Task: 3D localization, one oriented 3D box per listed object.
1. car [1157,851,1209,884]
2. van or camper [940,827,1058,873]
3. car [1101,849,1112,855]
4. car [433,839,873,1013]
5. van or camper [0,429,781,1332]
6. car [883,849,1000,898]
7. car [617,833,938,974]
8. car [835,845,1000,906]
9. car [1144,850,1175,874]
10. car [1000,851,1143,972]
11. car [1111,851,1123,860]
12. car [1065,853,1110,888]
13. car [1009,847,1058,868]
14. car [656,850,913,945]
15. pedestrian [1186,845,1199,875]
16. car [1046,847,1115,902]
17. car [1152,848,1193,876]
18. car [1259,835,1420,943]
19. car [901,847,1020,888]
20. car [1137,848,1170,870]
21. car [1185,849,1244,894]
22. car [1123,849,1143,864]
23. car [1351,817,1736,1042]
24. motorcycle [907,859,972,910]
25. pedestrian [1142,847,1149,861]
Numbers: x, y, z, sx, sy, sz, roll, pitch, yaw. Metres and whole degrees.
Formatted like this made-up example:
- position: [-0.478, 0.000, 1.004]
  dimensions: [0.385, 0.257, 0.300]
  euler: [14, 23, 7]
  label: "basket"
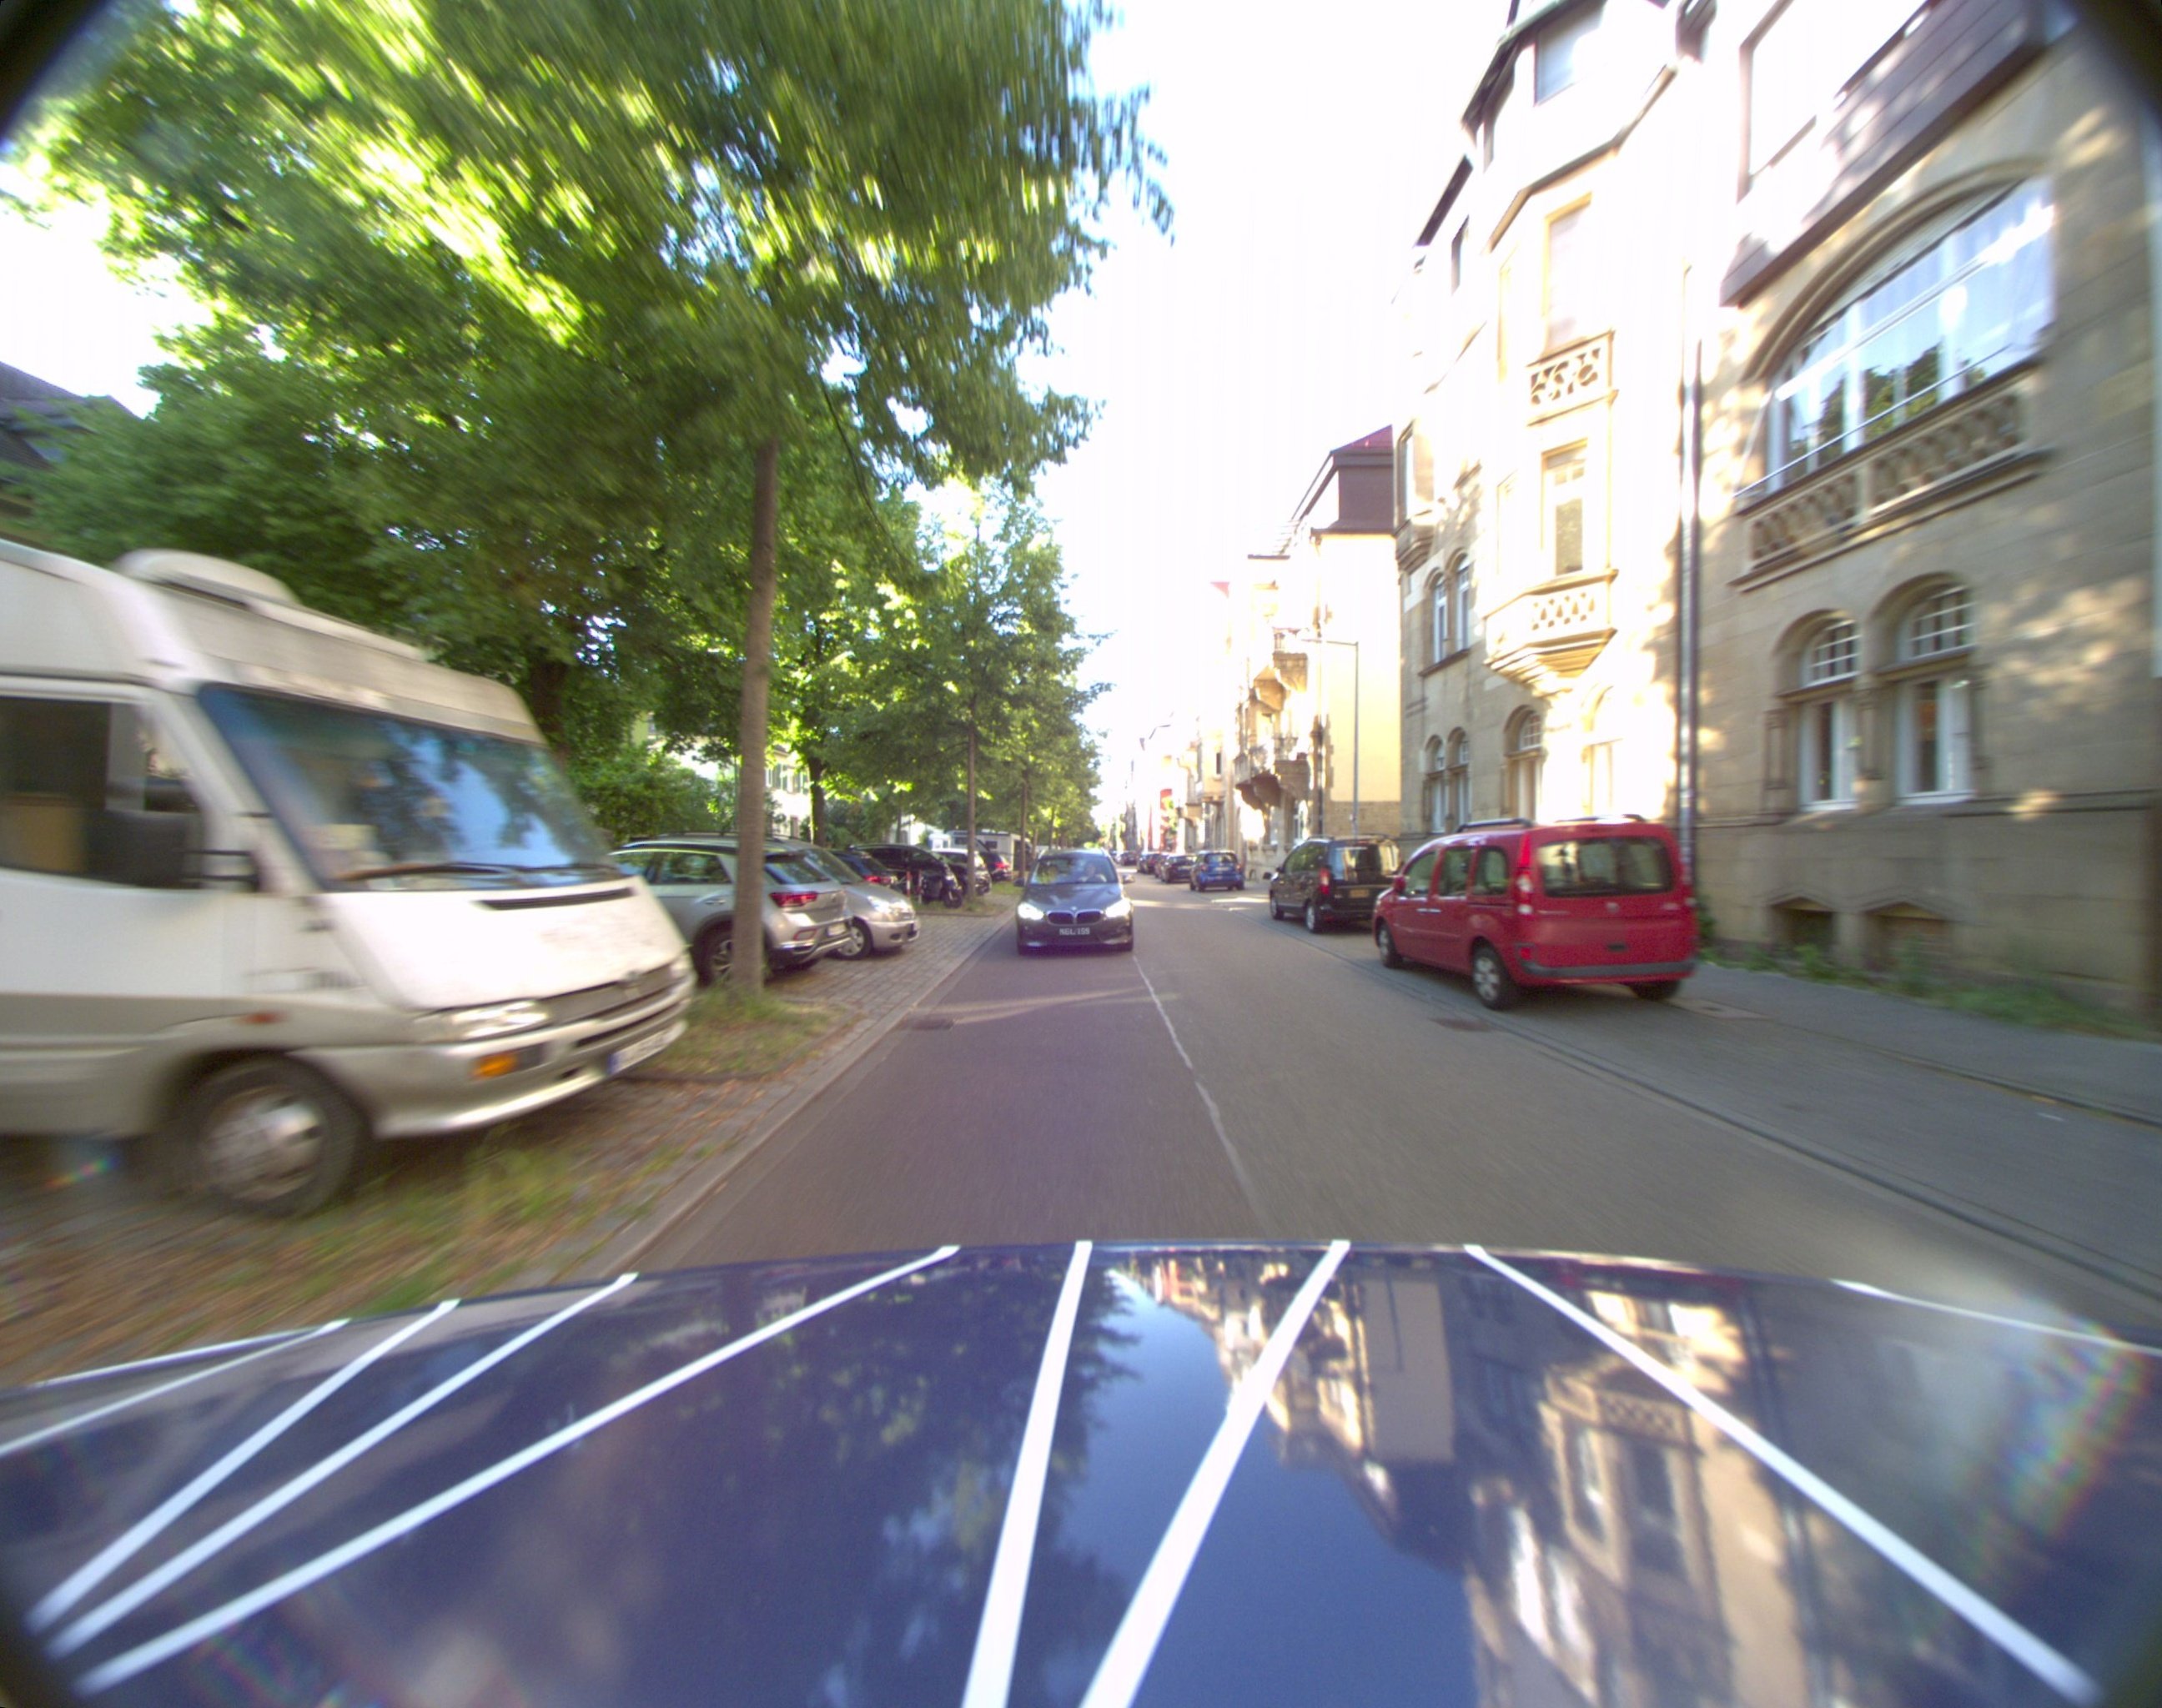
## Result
- position: [4.964, 0.622, 37.655]
  dimensions: [1.905, 1.430, 4.541]
  euler: [-4, 1, 0]
  label: "car"
- position: [-5.138, -0.267, 48.557]
  dimensions: [7.266, 2.888, 2.427]
  euler: [0, 2, 0]
  label: "van or camper"
- position: [6.141, -0.494, 183.728]
  dimensions: [2.000, 1.529, 3.997]
  euler: [-2, 1, -8]
  label: "car"
- position: [-4.693, 0.713, 8.757]
  dimensions: [3.971, 1.590, 1.903]
  euler: [3, 2, 3]
  label: "car"
- position: [-5.535, 0.098, 3.739]
  dimensions: [7.095, 3.060, 2.464]
  euler: [0, 1, -2]
  label: "van or camper"
- position: [-4.475, 0.608, 24.659]
  dimensions: [3.456, 1.467, 1.693]
  euler: [1, 1, 0]
  label: "car"
- position: [-4.241, 0.648, 11.064]
  dimensions: [3.924, 1.734, 1.729]
  euler: [2, 1, 0]
  label: "car"
- position: [-4.642, 0.587, 22.032]
  dimensions: [4.344, 1.599, 1.927]
  euler: [1, 1, -1]
  label: "car"
- position: [5.183, 0.478, 50.704]
  dimensions: [1.747, 1.457, 3.998]
  euler: [-2, 1, 1]
  label: "car"
- position: [-0.096, 0.796, 12.869]
  dimensions: [1.924, 1.597, 4.516]
  euler: [-3, 0, 1]
  label: "car"
- position: [5.658, 0.226, 119.455]
  dimensions: [1.702, 1.372, 4.000]
  euler: [0, 1, 0]
  label: "car"
- position: [0.329, 0.751, 37.220]
  dimensions: [1.998, 1.510, 4.651]
  euler: [-3, 0, 1]
  label: "car"
- position: [-4.049, 0.297, 65.189]
  dimensions: [3.997, 1.804, 2.000]
  euler: [0, 1, 1]
  label: "car"
- position: [-5.114, 0.736, 13.565]
  dimensions: [3.887, 1.464, 1.786]
  euler: [2, 1, -5]
  label: "car"
- position: [6.998, 0.356, 47.855]
  dimensions: [0.695, 1.837, 0.497]
  euler: [-2, 1, -1]
  label: "pedestrian"
- position: [-0.111, 0.627, 25.250]
  dimensions: [1.999, 1.584, 4.261]
  euler: [-2, 0, -3]
  label: "car"
- position: [5.222, 0.422, 43.609]
  dimensions: [1.694, 1.458, 3.772]
  euler: [-4, 1, -1]
  label: "car"
- position: [5.041, 0.600, 15.510]
  dimensions: [1.774, 1.841, 4.541]
  euler: [-1, 0, 1]
  label: "car"
- position: [-4.814, 0.518, 30.831]
  dimensions: [4.468, 1.469, 1.753]
  euler: [2, 1, 2]
  label: "car"
- position: [5.371, 0.380, 56.816]
  dimensions: [1.893, 1.448, 4.510]
  euler: [-4, 0, -2]
  label: "car"
- position: [5.002, 0.612, 28.737]
  dimensions: [1.688, 1.500, 2.861]
  euler: [-4, 1, 1]
  label: "car"
- position: [5.622, 0.259, 82.842]
  dimensions: [1.862, 1.595, 4.000]
  euler: [-3, 1, 0]
  label: "car"
- position: [4.765, 0.635, 8.725]
  dimensions: [1.803, 1.896, 4.324]
  euler: [-2, 1, 1]
  label: "car"
- position: [-3.503, 0.720, 18.771]
  dimensions: [0.739, 1.190, 1.771]
  euler: [-1, 1, -43]
  label: "motorcycle"
- position: [7.866, -0.021, 93.183]
  dimensions: [0.779, 1.693, 1.010]
  euler: [0, 1, 1]
  label: "pedestrian"
